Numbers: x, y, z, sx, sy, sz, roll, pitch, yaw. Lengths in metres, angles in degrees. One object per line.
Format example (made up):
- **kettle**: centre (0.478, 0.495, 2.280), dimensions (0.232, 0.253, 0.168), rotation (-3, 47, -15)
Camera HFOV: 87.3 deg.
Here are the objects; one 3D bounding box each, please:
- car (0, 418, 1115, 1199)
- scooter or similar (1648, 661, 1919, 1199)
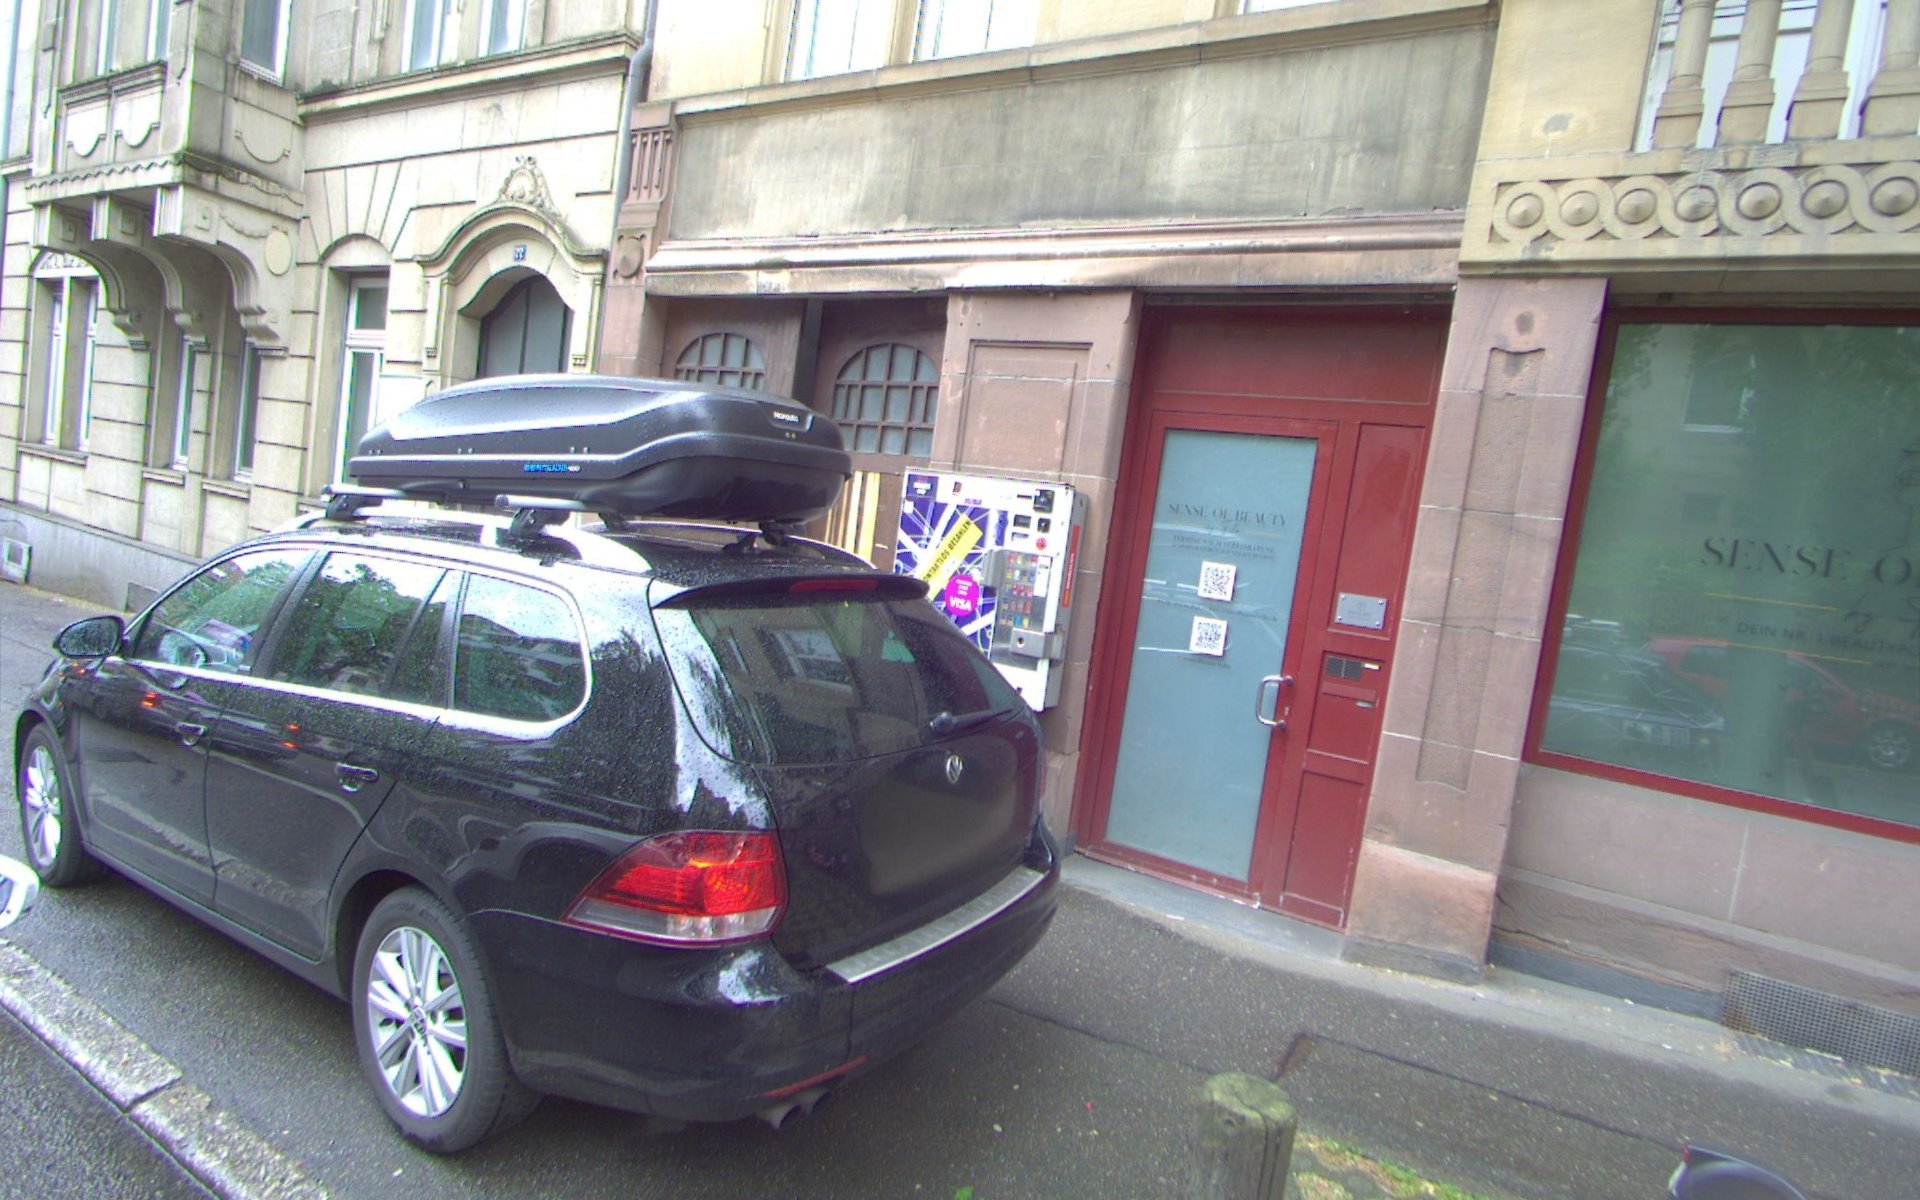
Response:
- **car**: centre (-1.726, 0.329, 3.568), dimensions (4.031, 1.675, 1.757), rotation (7, 6, 32)
- **scooter or similar**: centre (2.130, 0.864, 1.909), dimensions (1.183, 1.336, 0.593), rotation (7, 3, 32)
